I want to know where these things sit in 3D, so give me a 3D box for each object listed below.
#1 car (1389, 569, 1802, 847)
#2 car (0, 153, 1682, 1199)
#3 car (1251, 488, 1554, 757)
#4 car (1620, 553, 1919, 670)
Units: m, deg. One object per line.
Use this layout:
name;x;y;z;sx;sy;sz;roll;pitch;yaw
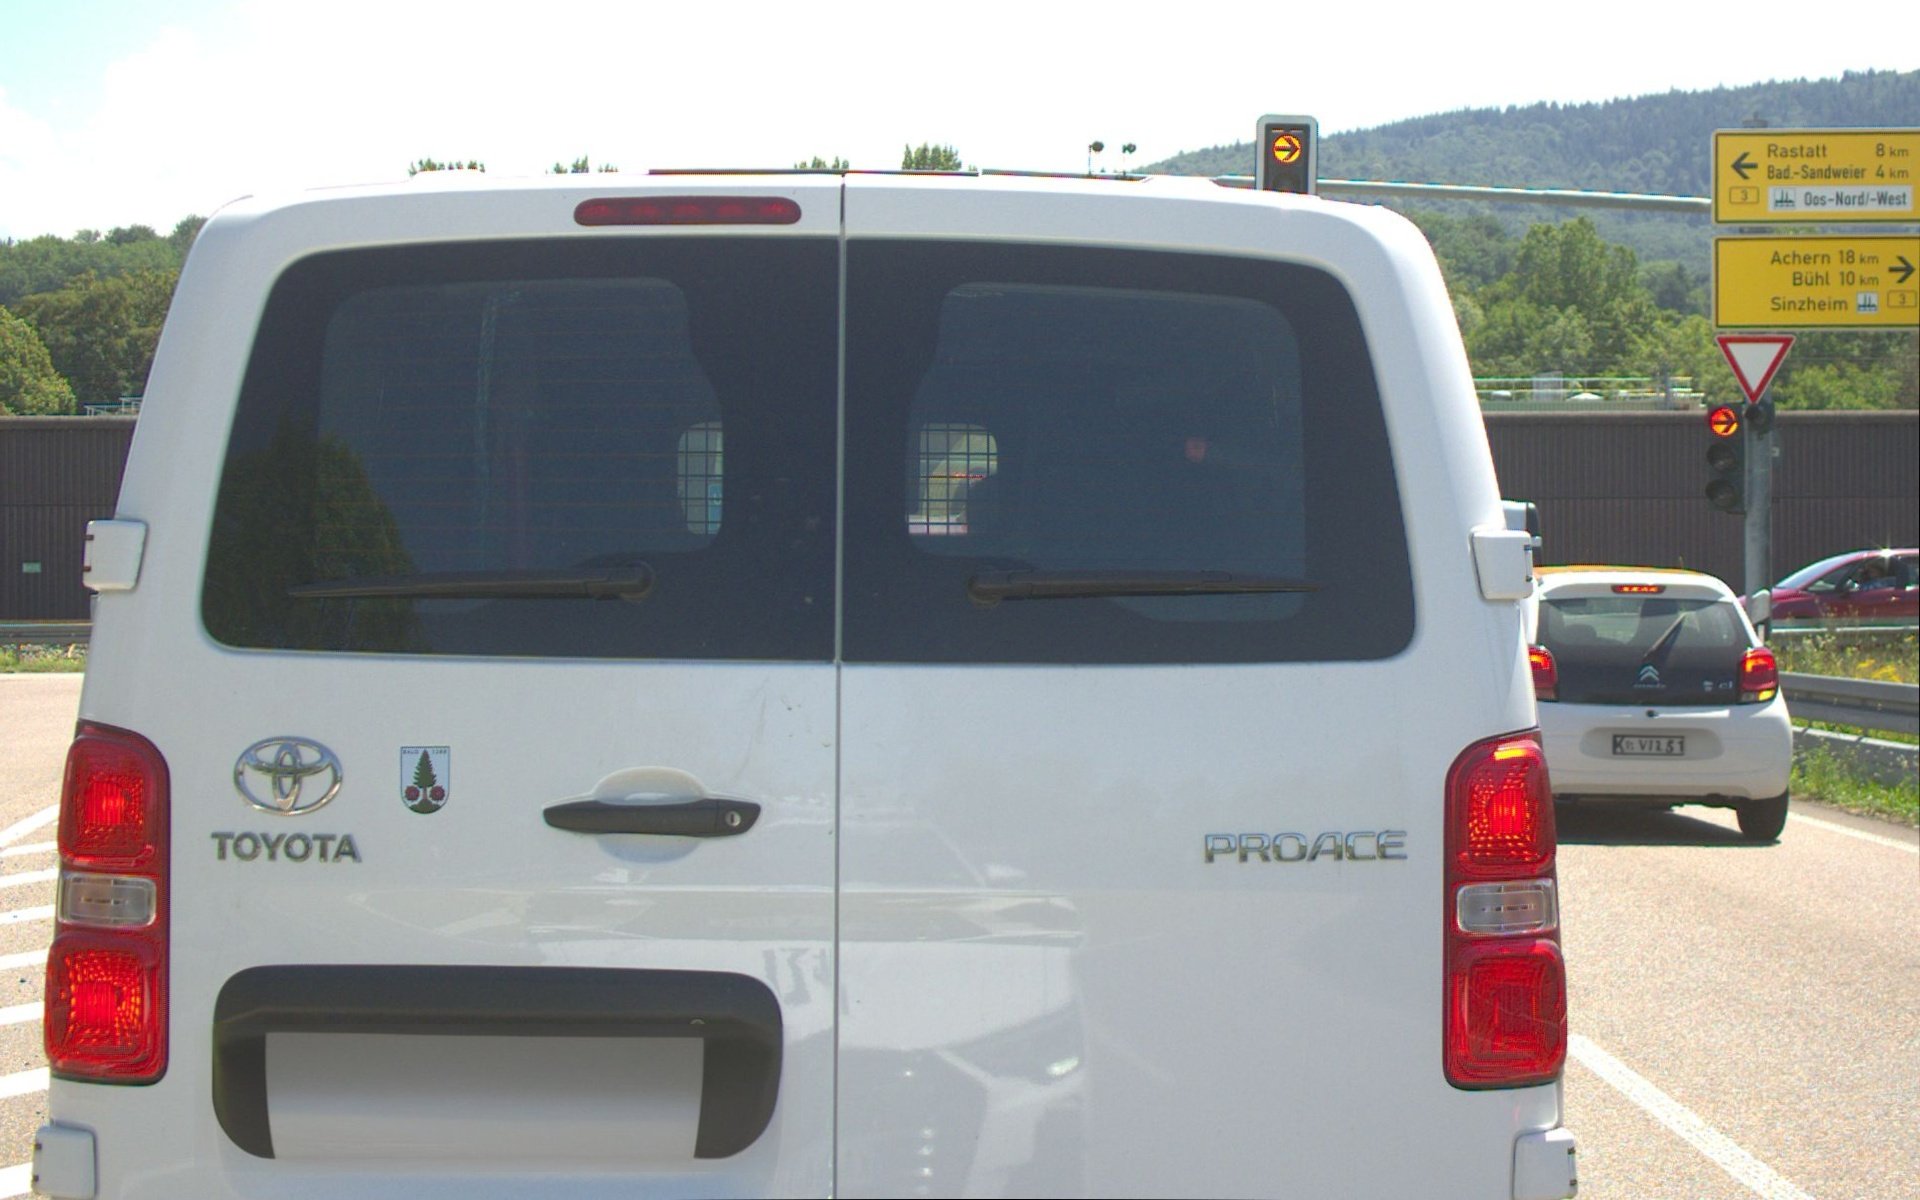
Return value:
car;3.533;0.550;19.650;1.656;1.426;3.366;1;1;-1
car;-0.221;0.454;5.671;1.886;1.880;4.000;1;1;-1
car;3.526;0.142;28.231;1.928;1.993;4.837;1;1;1
car;11.947;0.148;49.855;4.309;1.651;2.000;0;1;-3
